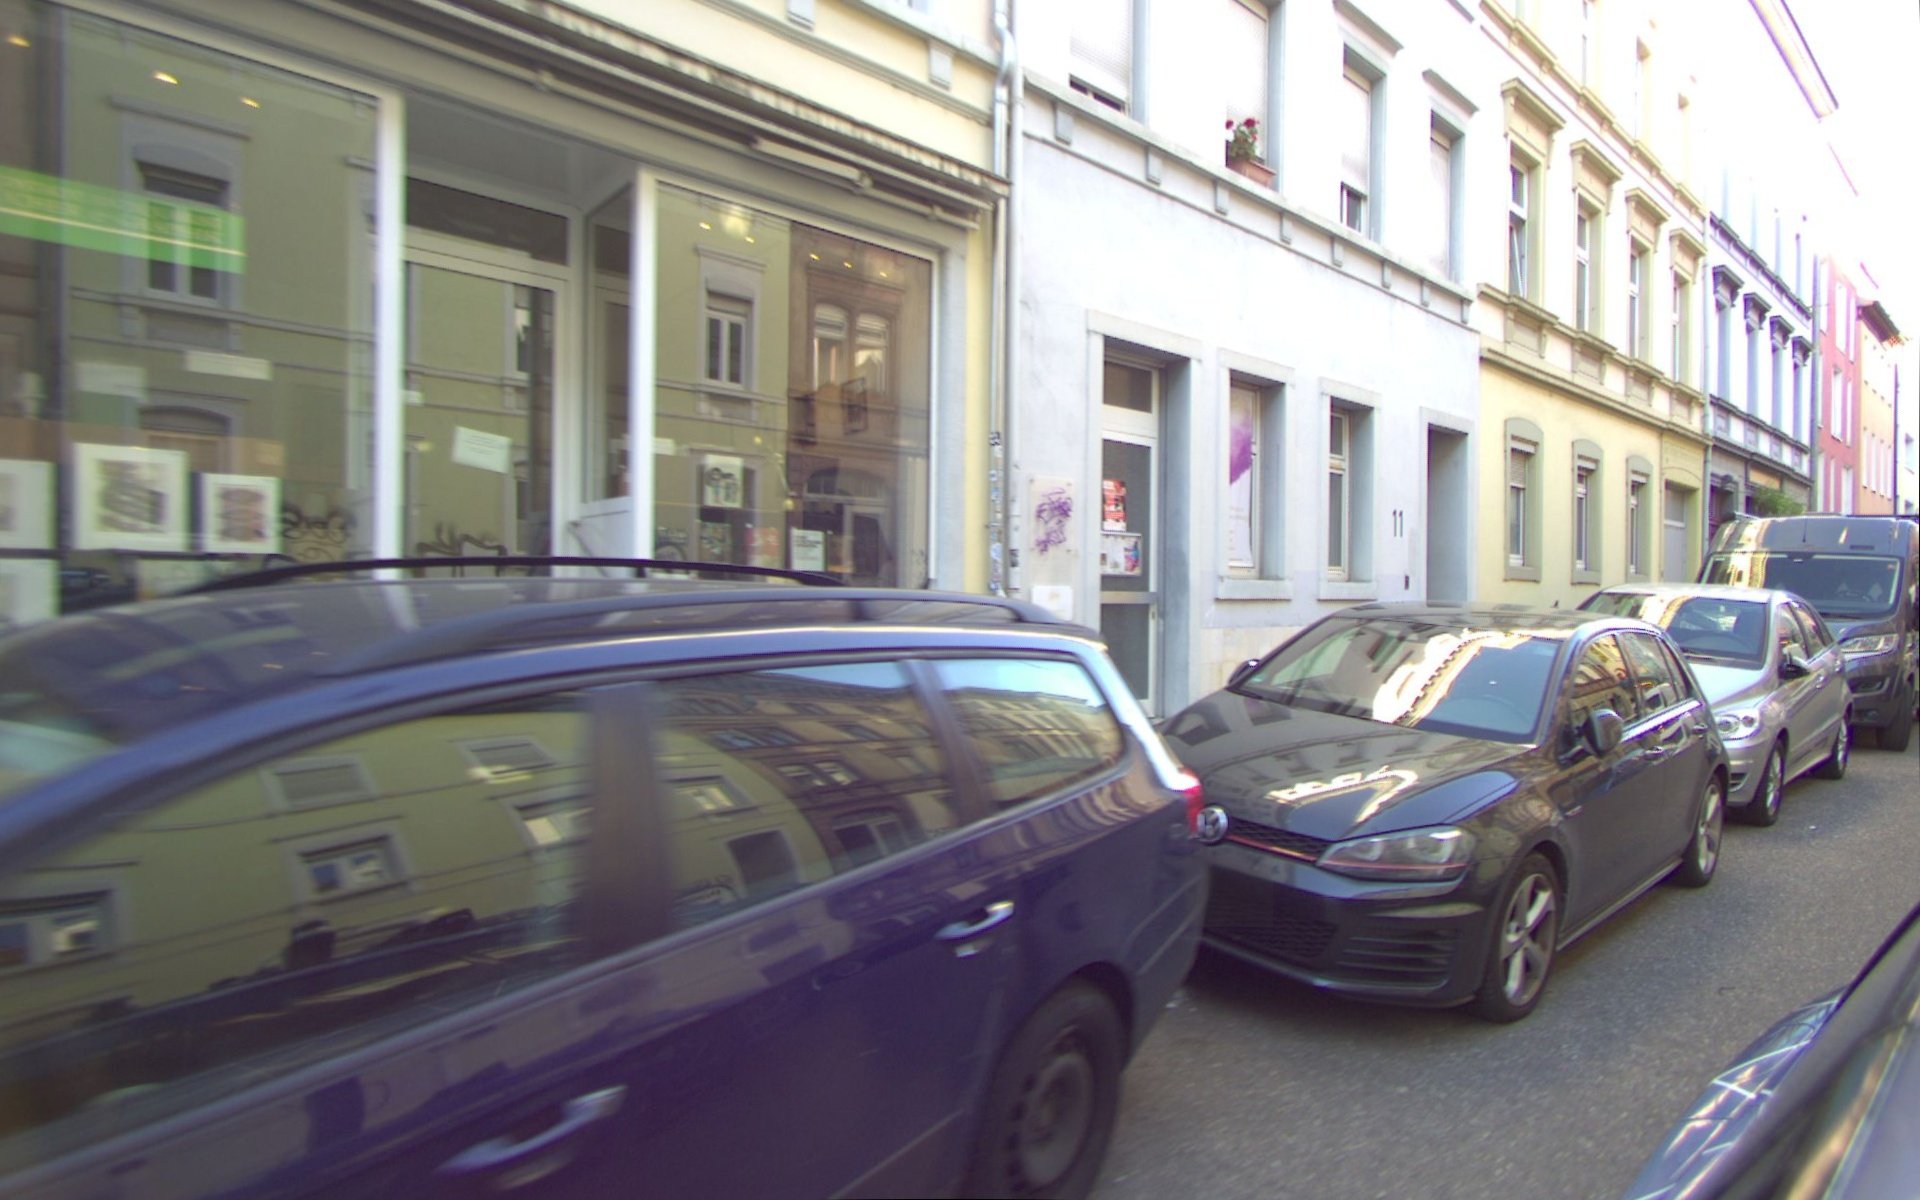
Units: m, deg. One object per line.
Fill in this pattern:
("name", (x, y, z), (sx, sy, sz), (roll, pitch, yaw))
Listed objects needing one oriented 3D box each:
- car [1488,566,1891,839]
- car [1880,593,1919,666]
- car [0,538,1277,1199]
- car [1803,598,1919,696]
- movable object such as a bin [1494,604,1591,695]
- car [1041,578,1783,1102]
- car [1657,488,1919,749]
("car", (6.066, 0.599, 8.206), (4.299, 1.627, 1.697), (0, 2, -41))
("car", (21.642, 0.641, 22.103), (4.469, 1.472, 1.790), (0, 4, -42))
("car", (-1.241, 0.679, 1.786), (1.809, 1.496, 4.542), (5, 3, 39))
("car", (15.585, 0.700, 16.857), (4.099, 1.462, 1.750), (0, 0, -41))
("movable object such as a bin", (7.470, 0.608, 12.985), (0.696, 1.055, 0.864), (0, 3, -43))
("car", (2.481, 0.678, 4.970), (4.169, 1.504, 1.749), (0, 1, -41))
("car", (10.720, 0.131, 12.348), (6.200, 2.455, 2.179), (0, 2, -42))
